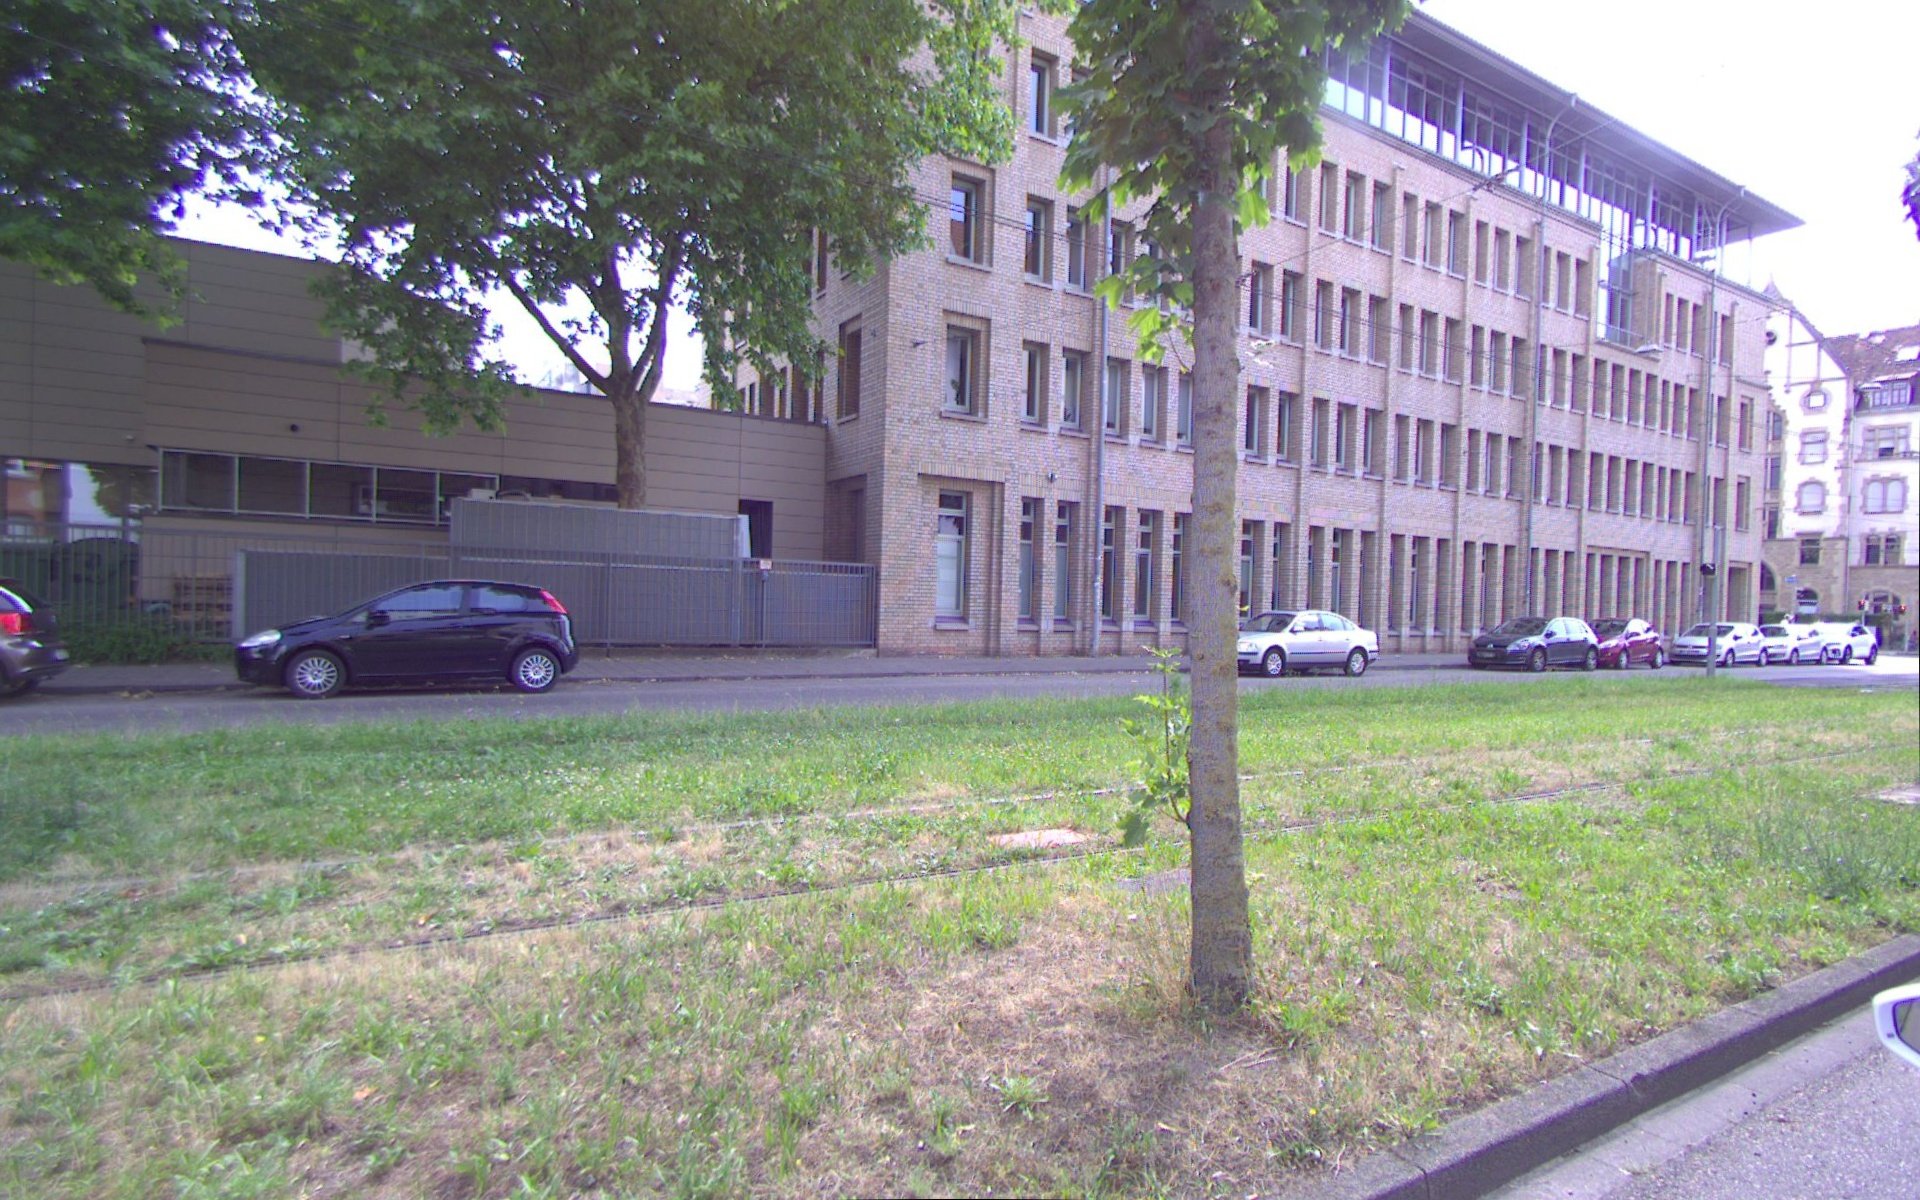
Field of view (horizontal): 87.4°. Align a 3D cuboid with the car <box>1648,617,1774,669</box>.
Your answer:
[{"bbox_3d":[24.767,1.409,33.103,4.160,1.551,1.842,2,0,-30],"label":"car"}]

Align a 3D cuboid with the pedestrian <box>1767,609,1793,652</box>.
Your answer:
[{"bbox_3d":[35.862,1.337,43.942,0.749,1.819,0.957,2,1,34],"label":"pedestrian"}]

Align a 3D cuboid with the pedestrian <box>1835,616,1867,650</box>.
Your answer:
[{"bbox_3d":[48.339,1.789,54.523,1.003,1.745,0.776,2,1,15],"label":"pedestrian"}]

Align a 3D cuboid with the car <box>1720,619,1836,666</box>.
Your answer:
[{"bbox_3d":[29.416,1.506,36.106,3.967,1.551,1.924,2,0,-30],"label":"car"}]

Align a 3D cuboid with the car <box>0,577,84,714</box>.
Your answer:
[{"bbox_3d":[-11.882,0.431,10.489,3.857,1.445,1.546,2,0,-31],"label":"car"}]

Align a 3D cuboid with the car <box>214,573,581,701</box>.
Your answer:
[{"bbox_3d":[-7.242,0.468,13.292,3.950,1.472,1.795,2,0,-28],"label":"car"}]

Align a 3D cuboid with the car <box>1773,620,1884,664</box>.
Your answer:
[{"bbox_3d":[33.218,1.595,38.401,4.207,1.555,1.924,2,0,-30],"label":"car"}]

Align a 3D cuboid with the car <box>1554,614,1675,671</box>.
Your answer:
[{"bbox_3d":[19.419,1.244,29.799,3.507,1.551,1.575,2,0,-30],"label":"car"}]

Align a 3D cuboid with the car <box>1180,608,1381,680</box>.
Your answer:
[{"bbox_3d":[7.123,0.957,22.210,4.432,1.415,1.707,2,0,-30],"label":"car"}]

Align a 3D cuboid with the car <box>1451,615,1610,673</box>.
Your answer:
[{"bbox_3d":[15.587,1.195,27.408,4.189,1.415,1.924,2,0,-30],"label":"car"}]
